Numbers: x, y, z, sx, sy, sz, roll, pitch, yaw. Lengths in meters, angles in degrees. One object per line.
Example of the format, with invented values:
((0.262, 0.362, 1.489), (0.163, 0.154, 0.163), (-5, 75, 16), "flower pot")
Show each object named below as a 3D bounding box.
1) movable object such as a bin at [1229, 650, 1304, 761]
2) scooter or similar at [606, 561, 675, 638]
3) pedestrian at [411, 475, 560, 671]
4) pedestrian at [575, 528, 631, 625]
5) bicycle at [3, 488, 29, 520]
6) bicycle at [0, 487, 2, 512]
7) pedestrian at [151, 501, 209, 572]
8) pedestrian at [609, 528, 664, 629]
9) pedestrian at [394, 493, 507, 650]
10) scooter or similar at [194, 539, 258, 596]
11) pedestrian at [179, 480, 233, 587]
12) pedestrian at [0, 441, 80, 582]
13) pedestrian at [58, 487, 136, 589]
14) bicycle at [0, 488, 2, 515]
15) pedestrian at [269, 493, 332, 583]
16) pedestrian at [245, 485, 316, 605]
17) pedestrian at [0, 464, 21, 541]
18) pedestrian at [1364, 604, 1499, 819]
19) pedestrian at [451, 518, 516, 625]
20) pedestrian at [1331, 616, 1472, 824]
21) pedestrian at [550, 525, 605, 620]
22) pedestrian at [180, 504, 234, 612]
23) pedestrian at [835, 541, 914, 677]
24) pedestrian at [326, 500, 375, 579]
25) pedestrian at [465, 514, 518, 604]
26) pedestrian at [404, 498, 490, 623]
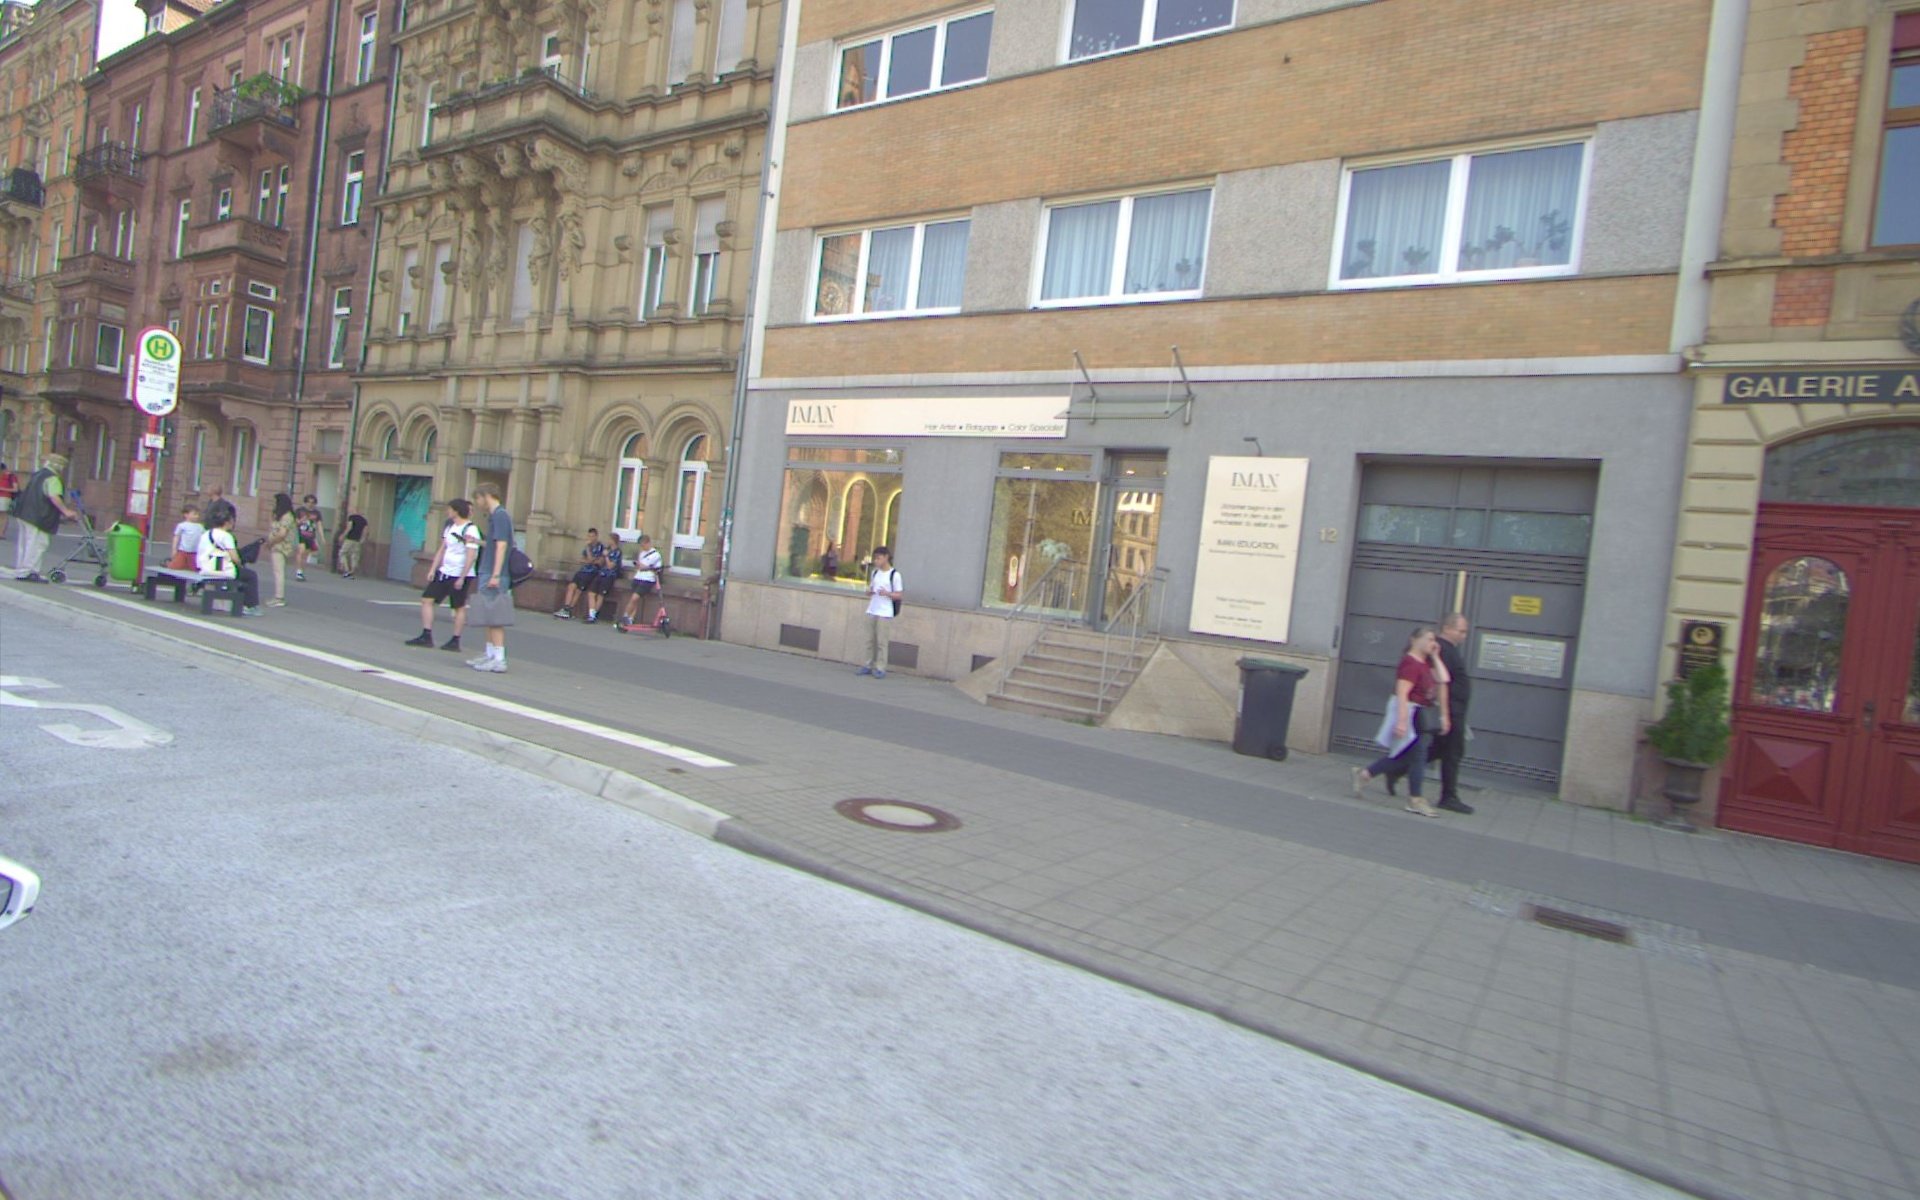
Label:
((3.409, 1.151, 11.213), (0.657, 1.094, 0.739), (7, 1, 17), "movable object such as a bin")
((-5.424, -0.015, 17.059), (1.133, 1.178, 0.360), (7, 2, 31), "scooter or similar")
((-4.798, -0.254, 10.199), (0.787, 1.855, 0.926), (7, 1, 30), "pedestrian")
((-6.674, -0.431, 18.820), (0.577, 1.713, 0.604), (7, 2, 30), "pedestrian")
((-34.898, -3.544, 37.191), (1.645, 1.061, 0.416), (7, 1, 39), "bicycle")
((-37.391, -3.860, 37.789), (0.491, 1.061, 1.931), (7, 1, 28), "bicycle")
((-10.020, -0.817, 12.921), (0.593, 0.831, 0.303), (7, 1, 26), "pedestrian")
((-5.883, -0.379, 18.296), (0.502, 1.753, 0.604), (7, 2, 30), "pedestrian")
((-6.058, -0.326, 11.979), (0.787, 1.751, 0.750), (7, 1, 30), "pedestrian")
((-10.912, -0.479, 14.967), (0.505, 0.751, 0.565), (7, 1, 30), "scooter or similar")
((-13.052, -1.153, 17.417), (0.792, 1.755, 0.341), (7, 2, 30), "pedestrian")
((-12.246, -1.166, 13.329), (0.733, 1.751, 0.565), (7, 2, 30), "pedestrian")
((-11.855, -0.846, 13.823), (0.587, 1.294, 0.565), (7, 1, 29), "pedestrian")
((-36.808, -3.767, 37.184), (0.491, 1.061, 1.931), (7, 1, 28), "bicycle")
((-13.877, -1.300, 21.174), (0.883, 1.746, 0.701), (7, 2, 33), "pedestrian")
((-10.416, -0.837, 15.425), (0.607, 1.751, 0.565), (7, 2, 30), "pedestrian")
((-22.093, -2.265, 23.112), (0.691, 1.723, 0.481), (7, 2, 30), "pedestrian")
((4.361, 0.998, 9.305), (0.842, 1.810, 0.720), (7, 1, 34), "pedestrian")
((-7.685, -0.461, 16.217), (0.800, 1.631, 0.486), (7, 1, 34), "pedestrian")
((3.843, 1.009, 8.747), (0.842, 1.631, 0.720), (7, 1, 34), "pedestrian")
((-7.256, -0.512, 19.103), (0.577, 1.713, 0.604), (7, 2, 30), "pedestrian")
((-9.361, -0.518, 12.502), (0.440, 1.290, 0.275), (7, 2, 27), "pedestrian")
((-1.231, 0.138, 14.471), (0.730, 1.855, 0.604), (7, 2, 30), "pedestrian")
((-14.301, -1.414, 23.604), (0.679, 1.741, 0.629), (7, 2, 33), "pedestrian")
((-9.276, -0.804, 19.919), (0.577, 1.676, 0.604), (7, 2, 30), "pedestrian")
((-7.973, -0.616, 15.639), (1.054, 1.827, 0.617), (7, 1, 35), "pedestrian")
